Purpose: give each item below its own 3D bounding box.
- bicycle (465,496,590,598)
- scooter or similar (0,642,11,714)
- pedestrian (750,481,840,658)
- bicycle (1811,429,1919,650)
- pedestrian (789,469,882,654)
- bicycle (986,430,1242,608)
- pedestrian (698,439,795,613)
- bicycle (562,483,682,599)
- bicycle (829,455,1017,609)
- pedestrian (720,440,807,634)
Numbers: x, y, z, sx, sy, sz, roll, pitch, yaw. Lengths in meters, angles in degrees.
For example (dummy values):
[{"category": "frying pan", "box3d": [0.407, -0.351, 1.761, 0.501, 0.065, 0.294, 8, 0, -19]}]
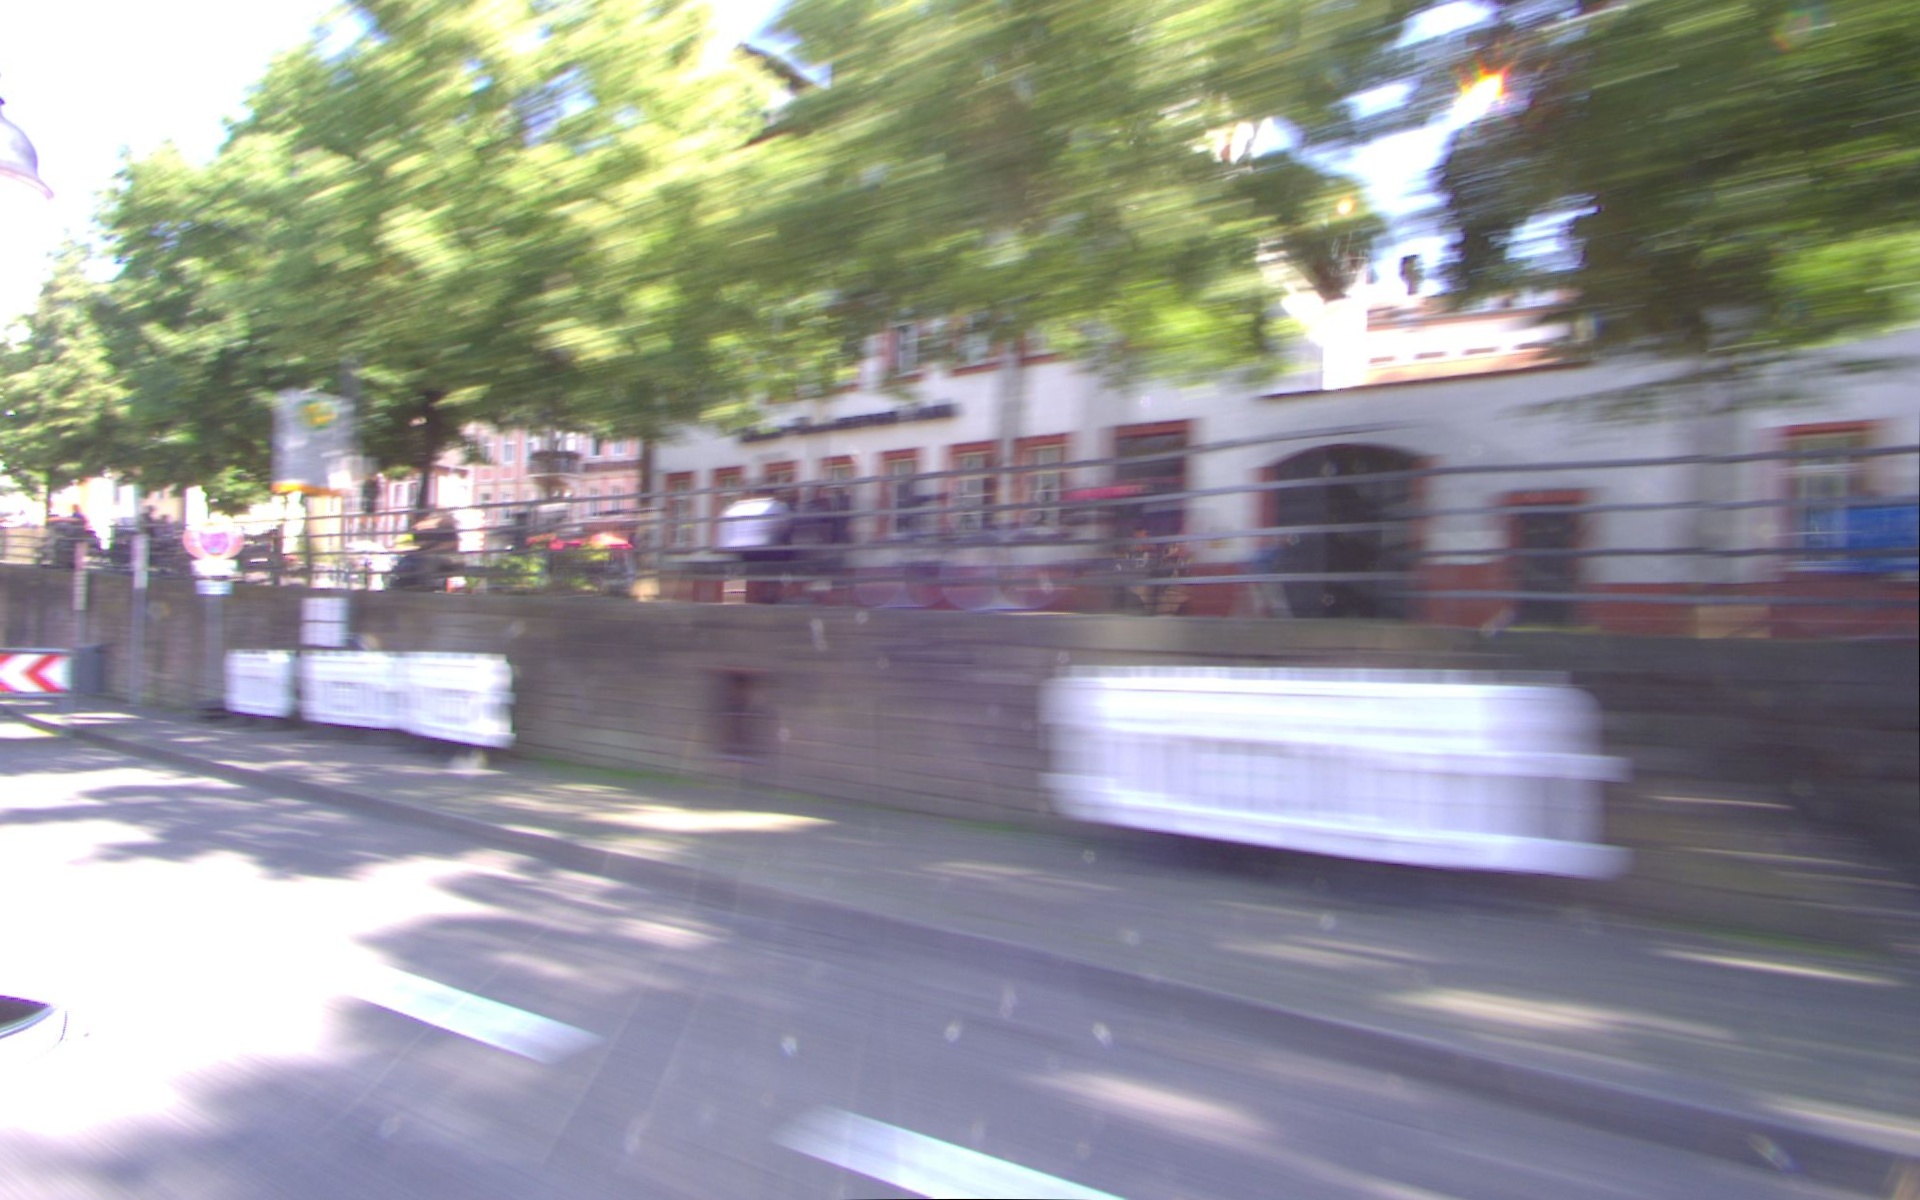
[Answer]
[{"category": "bicycle", "box3d": [-5.122, -0.601, 11.826, 1.708, 1.120, 0.409, 0, -1, 30]}, {"category": "scooter or similar", "box3d": [-17.505, 1.393, 18.010, 0.527, 1.246, 1.261, 1, -1, -39]}, {"category": "pedestrian", "box3d": [-1.691, -0.288, 10.305, 0.566, 1.743, 0.716, 0, -1, 36]}, {"category": "bicycle", "box3d": [5.592, -0.308, 5.072, 1.908, 1.155, 0.381, 1, 0, 36]}, {"category": "pedestrian", "box3d": [-1.223, -0.353, 9.900, 0.566, 1.743, 0.716, 0, -1, 36]}, {"category": "bicycle", "box3d": [1.042, -0.509, 7.180, 1.902, 1.120, 0.408, -1, -1, 42]}, {"category": "pedestrian", "box3d": [-2.250, -0.737, 10.572, 0.702, 1.743, 0.716, 0, -1, 36]}, {"category": "bicycle", "box3d": [-3.603, -0.584, 10.599, 1.715, 1.120, 0.408, -1, -1, 42]}, {"category": "bicycle", "box3d": [-0.341, -0.497, 8.117, 1.715, 1.120, 0.408, -1, -1, 42]}, {"category": "pedestrian", "box3d": [-2.336, -0.705, 11.921, 0.702, 2.217, 0.716, 0, -1, 36]}]
